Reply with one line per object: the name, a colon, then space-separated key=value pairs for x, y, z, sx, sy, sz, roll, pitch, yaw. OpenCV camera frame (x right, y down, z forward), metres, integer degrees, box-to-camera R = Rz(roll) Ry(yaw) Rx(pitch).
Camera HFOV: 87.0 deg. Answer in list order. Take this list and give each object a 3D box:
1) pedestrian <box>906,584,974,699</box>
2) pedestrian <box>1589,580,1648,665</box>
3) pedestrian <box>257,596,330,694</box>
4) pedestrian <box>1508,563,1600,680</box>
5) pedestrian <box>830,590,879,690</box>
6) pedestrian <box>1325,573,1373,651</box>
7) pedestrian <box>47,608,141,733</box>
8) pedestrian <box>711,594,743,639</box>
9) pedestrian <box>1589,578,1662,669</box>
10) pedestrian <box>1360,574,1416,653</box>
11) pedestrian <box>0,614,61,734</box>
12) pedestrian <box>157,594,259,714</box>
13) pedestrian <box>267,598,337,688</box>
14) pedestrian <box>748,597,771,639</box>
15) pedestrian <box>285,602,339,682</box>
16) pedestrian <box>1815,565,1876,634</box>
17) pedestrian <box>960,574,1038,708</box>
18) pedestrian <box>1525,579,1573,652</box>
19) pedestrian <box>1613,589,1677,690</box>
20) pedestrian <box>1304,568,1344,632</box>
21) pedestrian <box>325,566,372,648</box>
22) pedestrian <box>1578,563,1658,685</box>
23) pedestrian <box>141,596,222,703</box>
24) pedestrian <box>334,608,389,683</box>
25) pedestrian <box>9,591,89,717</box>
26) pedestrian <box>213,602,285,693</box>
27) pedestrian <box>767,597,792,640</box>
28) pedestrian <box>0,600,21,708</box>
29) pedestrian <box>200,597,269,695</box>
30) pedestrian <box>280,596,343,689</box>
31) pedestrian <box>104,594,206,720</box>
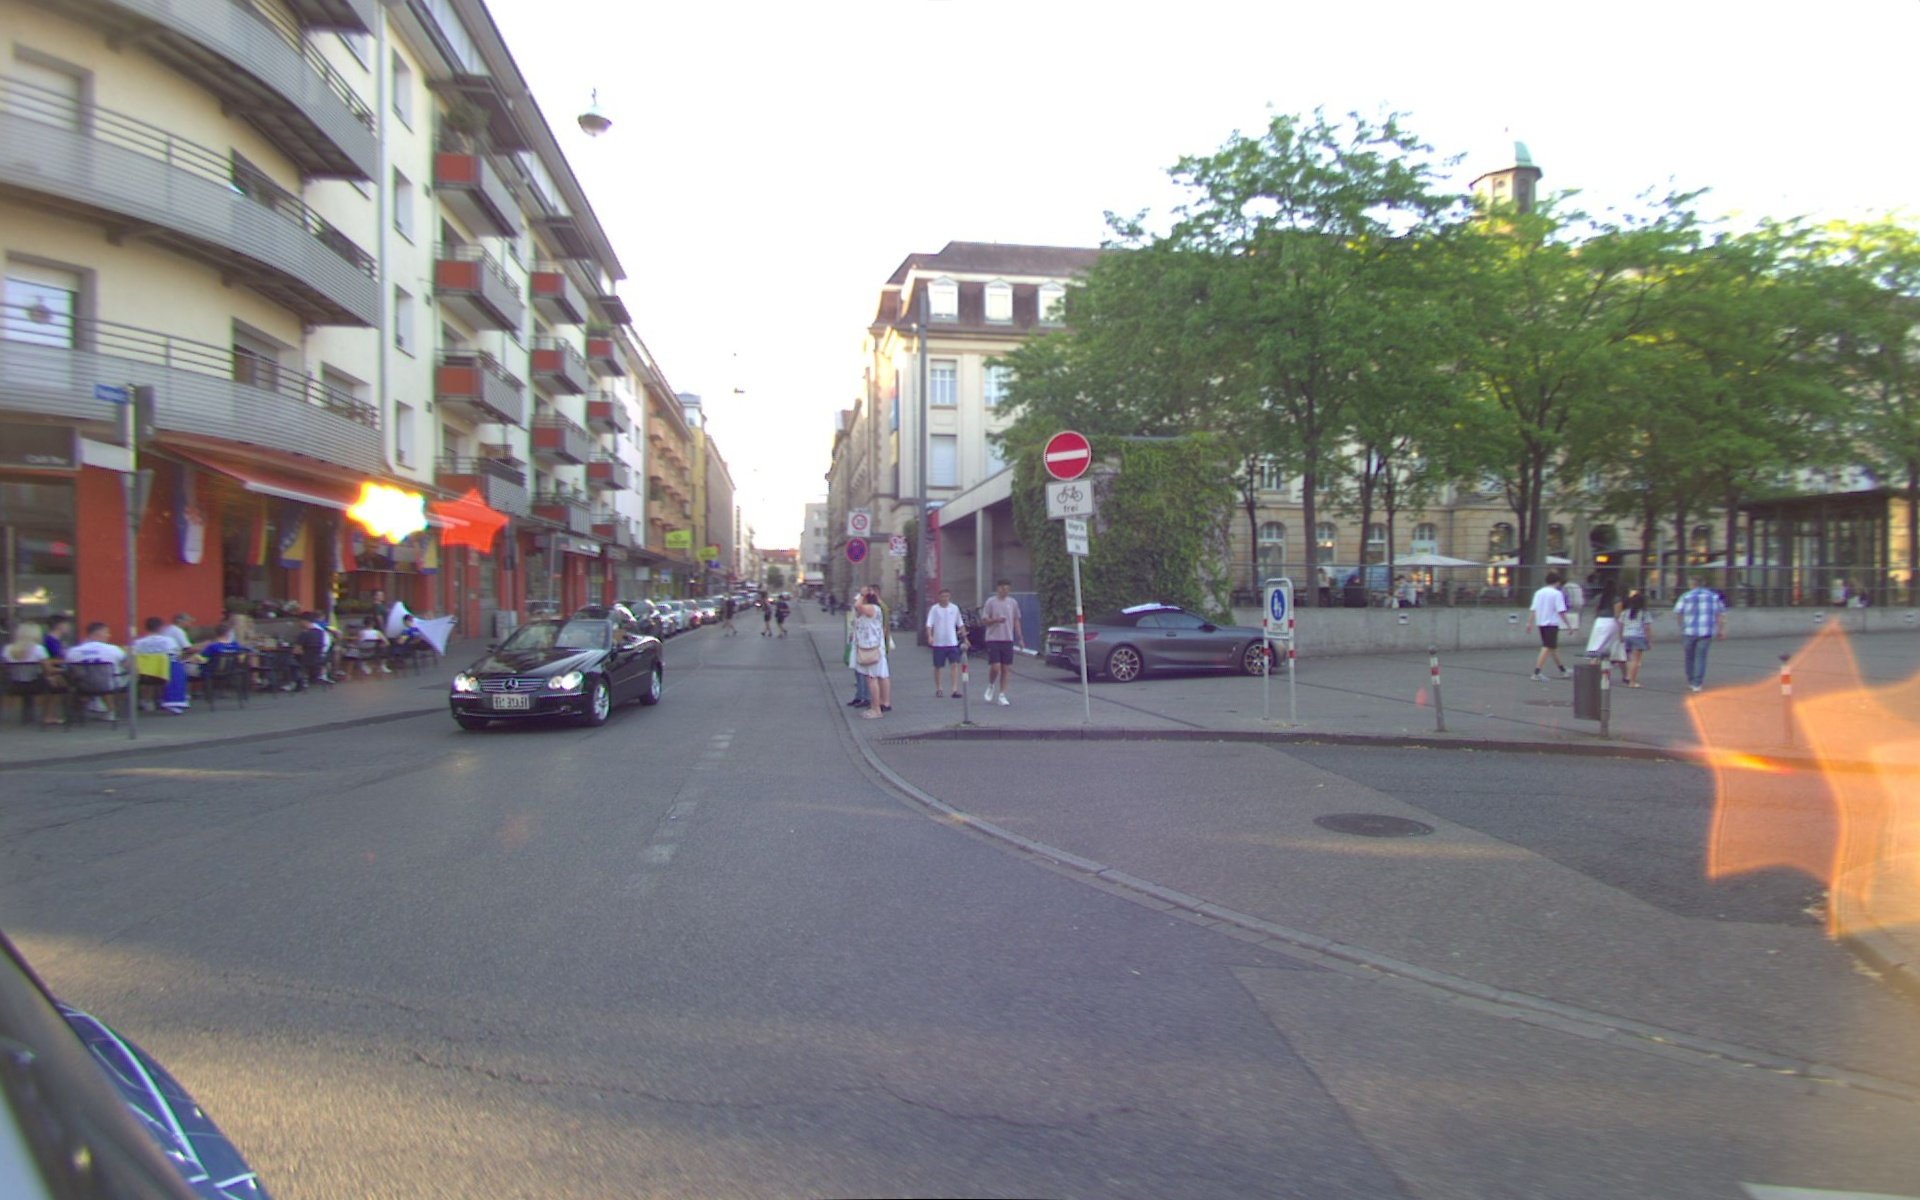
pedestrian: x=-0.340 y=0.660 z=16.619 sx=0.969 sy=1.807 sz=0.891 roll=-2 pitch=0 yaw=-7
pedestrian: x=12.359 y=0.413 z=19.012 sx=0.583 sy=1.554 sz=0.682 roll=-2 pitch=0 yaw=-13
pedestrian: x=-10.926 y=0.730 z=16.614 sx=0.702 sy=1.547 sz=0.761 roll=3 pitch=-1 yaw=-13
pedestrian: x=9.909 y=0.345 z=16.895 sx=0.875 sy=1.867 sz=0.988 roll=-2 pitch=0 yaw=-31
pedestrian: x=-2.006 y=0.736 z=19.105 sx=0.838 sy=1.807 sz=0.870 roll=-2 pitch=0 yaw=-7
pedestrian: x=9.190 y=0.271 z=23.945 sx=0.750 sy=1.795 sz=0.799 roll=-1 pitch=0 yaw=-8
pedestrian: x=-10.187 y=0.795 z=11.931 sx=0.758 sy=1.392 sz=0.841 roll=0 pitch=1 yaw=-35
pedestrian: x=-9.705 y=0.674 z=42.158 sx=0.991 sy=1.841 sz=0.948 roll=-2 pitch=0 yaw=-36
pedestrian: x=12.063 y=0.411 z=18.356 sx=0.718 sy=1.594 sz=0.801 roll=-2 pitch=0 yaw=-24
pedestrian: x=10.174 y=0.310 z=24.079 sx=0.691 sy=1.833 sz=1.125 roll=-1 pitch=0 yaw=-11
pedestrian: x=-10.950 y=0.836 z=11.726 sx=0.674 sy=1.291 sz=0.970 roll=0 pitch=2 yaw=-35
pedestrian: x=-10.232 y=0.720 z=13.804 sx=0.703 sy=1.547 sz=0.854 roll=4 pitch=-1 yaw=-8
pedestrian: x=-11.739 y=0.753 z=18.071 sx=0.839 sy=1.547 sz=0.681 roll=-2 pitch=0 yaw=-13
pedestrian: x=-8.433 y=0.747 z=42.596 sx=0.905 sy=1.740 sz=0.705 roll=-1 pitch=0 yaw=-14
pedestrian: x=-11.966 y=0.776 z=18.699 sx=0.656 sy=1.445 sz=0.562 roll=1 pitch=-1 yaw=-12
pedestrian: x=22.802 y=-0.022 z=26.068 sx=0.691 sy=1.740 sz=0.923 roll=-1 pitch=0 yaw=-11
pedestrian: x=0.562 y=0.589 z=15.080 sx=0.969 sy=1.898 sz=0.891 roll=-2 pitch=0 yaw=-7
pedestrian: x=14.526 y=0.374 z=24.974 sx=0.613 sy=1.740 sz=0.805 roll=-1 pitch=0 yaw=-11
pedestrian: x=10.529 y=0.588 z=15.559 sx=0.705 sy=1.497 sz=0.605 roll=-2 pitch=0 yaw=-39
pedestrian: x=11.927 y=-0.006 z=33.189 sx=0.820 sy=2.029 sz=1.068 roll=-1 pitch=1 yaw=-7
pedestrian: x=-15.396 y=0.178 z=25.486 sx=0.660 sy=2.029 sz=0.814 roll=-1 pitch=0 yaw=1
pedestrian: x=10.520 y=0.375 z=16.201 sx=0.704 sy=1.889 sz=0.781 roll=-2 pitch=0 yaw=0
pedestrian: x=-11.593 y=0.725 z=15.076 sx=0.748 sy=1.547 sz=0.643 roll=-2 pitch=0 yaw=23
pedestrian: x=-11.171 y=0.848 z=18.919 sx=0.644 sy=1.355 sz=0.751 roll=2 pitch=-1 yaw=-12
pedestrian: x=-11.768 y=0.675 z=13.068 sx=0.704 sy=1.547 sz=0.854 roll=-2 pitch=0 yaw=-44
pedestrian: x=-12.086 y=0.787 z=17.232 sx=0.757 sy=1.515 sz=0.785 roll=0 pitch=0 yaw=-12
pedestrian: x=-7.532 y=0.759 z=42.180 sx=0.823 sy=1.740 sz=0.920 roll=-1 pitch=0 yaw=4
pedestrian: x=-16.305 y=0.907 z=16.969 sx=0.601 sy=1.790 sz=0.619 roll=-1 pitch=0 yaw=-17
pedestrian: x=-11.855 y=0.743 z=16.562 sx=0.664 sy=1.547 sz=0.656 roll=2 pitch=-1 yaw=-12
pedestrian: x=-11.115 y=0.718 z=17.373 sx=0.640 sy=1.539 sz=0.702 roll=3 pitch=-1 yaw=-14
pedestrian: x=-10.371 y=0.713 z=13.062 sx=0.706 sy=1.547 sz=0.688 roll=0 pitch=3 yaw=7
